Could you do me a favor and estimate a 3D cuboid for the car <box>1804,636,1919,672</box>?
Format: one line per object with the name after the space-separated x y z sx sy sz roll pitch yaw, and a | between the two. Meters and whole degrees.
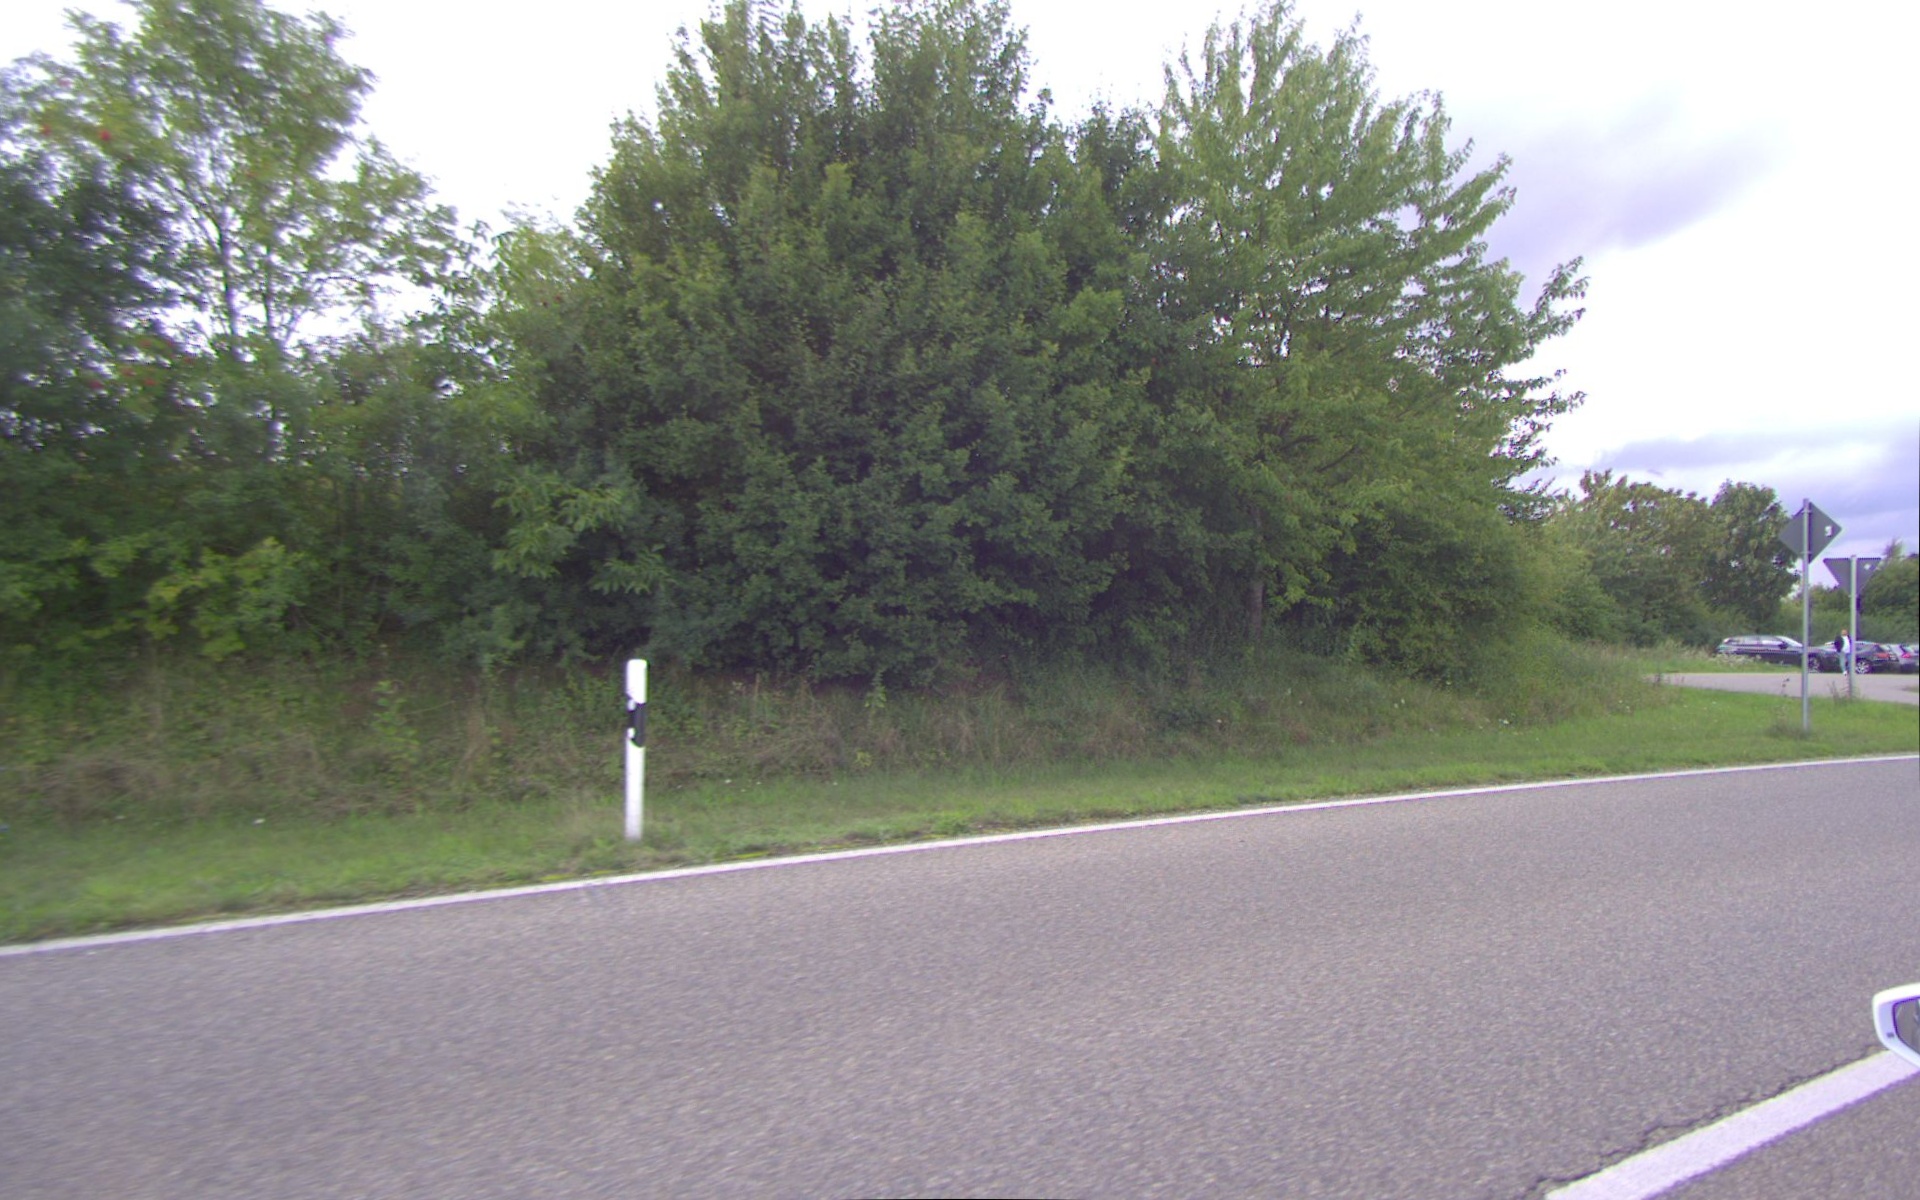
44.288 2.614 49.182 1.735 1.587 4.226 1 -1 -26 | car

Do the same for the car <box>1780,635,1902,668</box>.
41.486 2.387 47.402 1.801 1.398 3.972 1 -1 -28 | car

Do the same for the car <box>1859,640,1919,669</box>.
49.108 2.824 51.786 1.463 1.398 3.955 2 -1 -39 | car

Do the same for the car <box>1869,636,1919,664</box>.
51.605 2.699 53.943 1.463 1.398 3.956 2 -1 -38 | car

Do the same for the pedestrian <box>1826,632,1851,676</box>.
34.259 2.116 39.181 0.652 1.689 0.513 1 -1 -25 | pedestrian

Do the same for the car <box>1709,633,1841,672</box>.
36.056 2.295 44.542 1.738 1.587 4.220 2 -1 -30 | car
